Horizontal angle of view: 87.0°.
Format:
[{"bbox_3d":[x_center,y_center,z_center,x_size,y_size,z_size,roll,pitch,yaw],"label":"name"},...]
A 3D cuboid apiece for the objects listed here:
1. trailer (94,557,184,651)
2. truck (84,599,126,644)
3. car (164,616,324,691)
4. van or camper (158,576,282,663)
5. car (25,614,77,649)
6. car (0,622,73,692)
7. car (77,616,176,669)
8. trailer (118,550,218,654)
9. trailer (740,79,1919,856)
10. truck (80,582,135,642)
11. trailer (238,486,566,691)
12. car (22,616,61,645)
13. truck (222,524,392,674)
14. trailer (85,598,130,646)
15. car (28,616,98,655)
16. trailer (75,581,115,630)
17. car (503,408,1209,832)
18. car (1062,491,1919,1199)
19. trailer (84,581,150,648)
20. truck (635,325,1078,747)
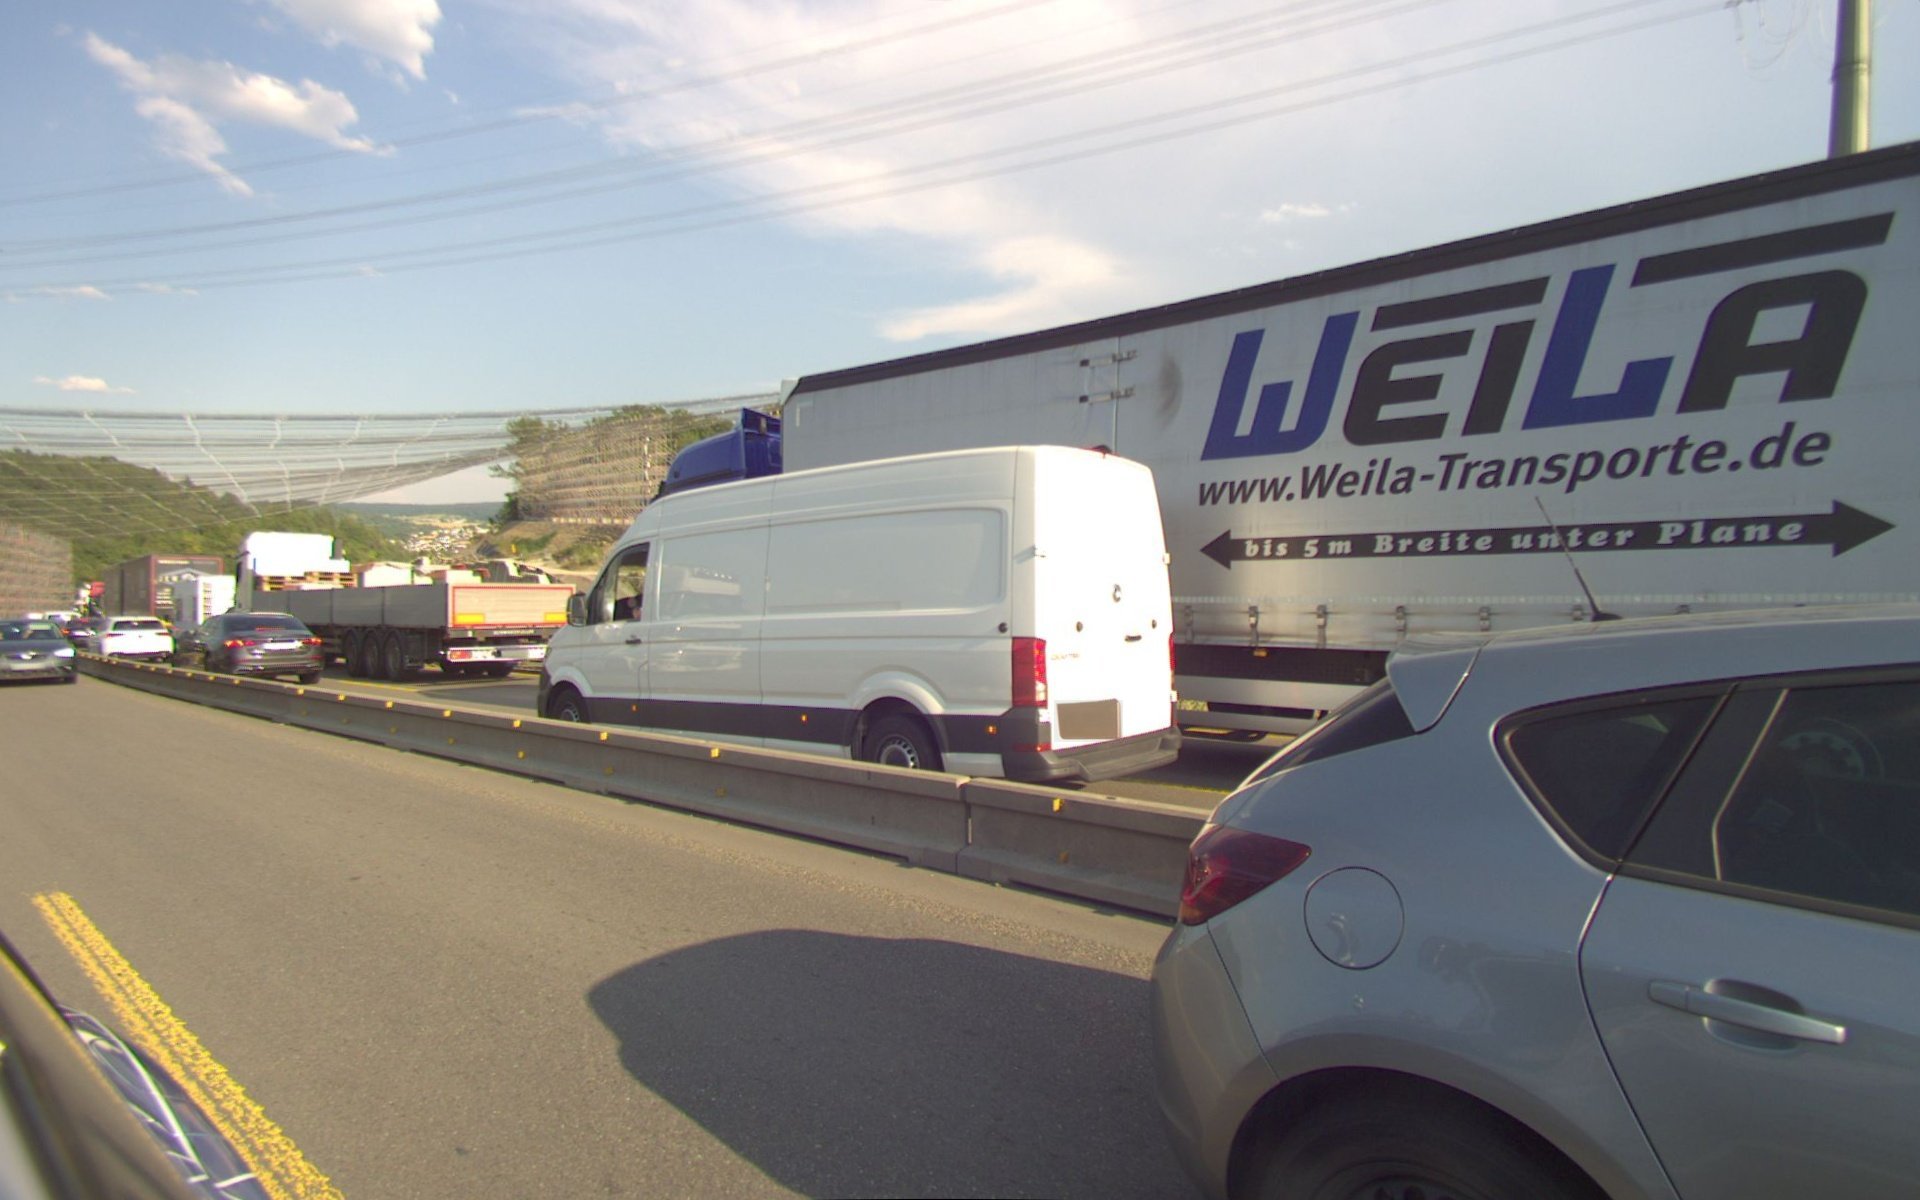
[{"bbox_3d":[-42.065,0.241,51.680,10.516,4.361,2.448,-1,-1,45],"label":"trailer"},{"bbox_3d":[-67.576,1.677,79.934,2.384,3.396,5.625,0,-1,-42],"label":"truck"},{"bbox_3d":[-14.947,1.034,21.012,4.767,1.388,1.740,-1,-1,42],"label":"car"},{"bbox_3d":[-27.418,0.698,37.348,7.619,2.913,2.381,-1,-1,44],"label":"van or camper"},{"bbox_3d":[-47.427,1.613,52.781,4.455,1.708,1.737,-1,-1,44],"label":"car"},{"bbox_3d":[-20.418,1.179,21.807,1.740,1.394,3.825,0,-1,-45],"label":"car"},{"bbox_3d":[-25.853,1.274,31.359,4.253,1.519,1.740,-1,-1,42],"label":"car"},{"bbox_3d":[-35.290,0.143,44.961,8.547,4.220,2.415,-1,-1,44],"label":"trailer"},{"bbox_3d":[3.641,-0.673,8.211,14.591,4.162,2.283,-1,-1,41],"label":"trailer"},{"bbox_3d":[-56.226,0.789,66.695,2.404,3.813,5.622,0,-1,-44],"label":"truck"},{"bbox_3d":[-13.926,-0.117,24.163,13.975,3.753,2.493,-1,-1,42],"label":"trailer"},{"bbox_3d":[-64.850,2.113,71.414,4.838,1.940,1.796,-1,-1,45],"label":"car"},{"bbox_3d":[-18.626,0.018,28.695,6.517,3.782,2.572,-1,-1,43],"label":"truck"},{"bbox_3d":[-63.786,1.618,75.596,2.279,3.387,12.068,0,-1,-42],"label":"trailer"},{"bbox_3d":[-37.588,1.462,42.387,4.586,1.523,1.774,-1,-1,43],"label":"car"},{"bbox_3d":[-76.634,0.548,89.574,2.398,3.993,14.117,0,-1,-42],"label":"trailer"},{"bbox_3d":[-1.388,0.161,8.947,6.768,2.519,2.036,-1,-1,39],"label":"car"},{"bbox_3d":[2.402,0.606,1.218,4.351,1.484,1.737,-1,-1,41],"label":"car"},{"bbox_3d":[-52.365,0.886,62.734,2.280,3.819,12.062,0,-1,-44],"label":"trailer"},{"bbox_3d":[-1.541,-0.587,12.707,5.666,4.096,2.475,-1,-1,44],"label":"truck"}]
